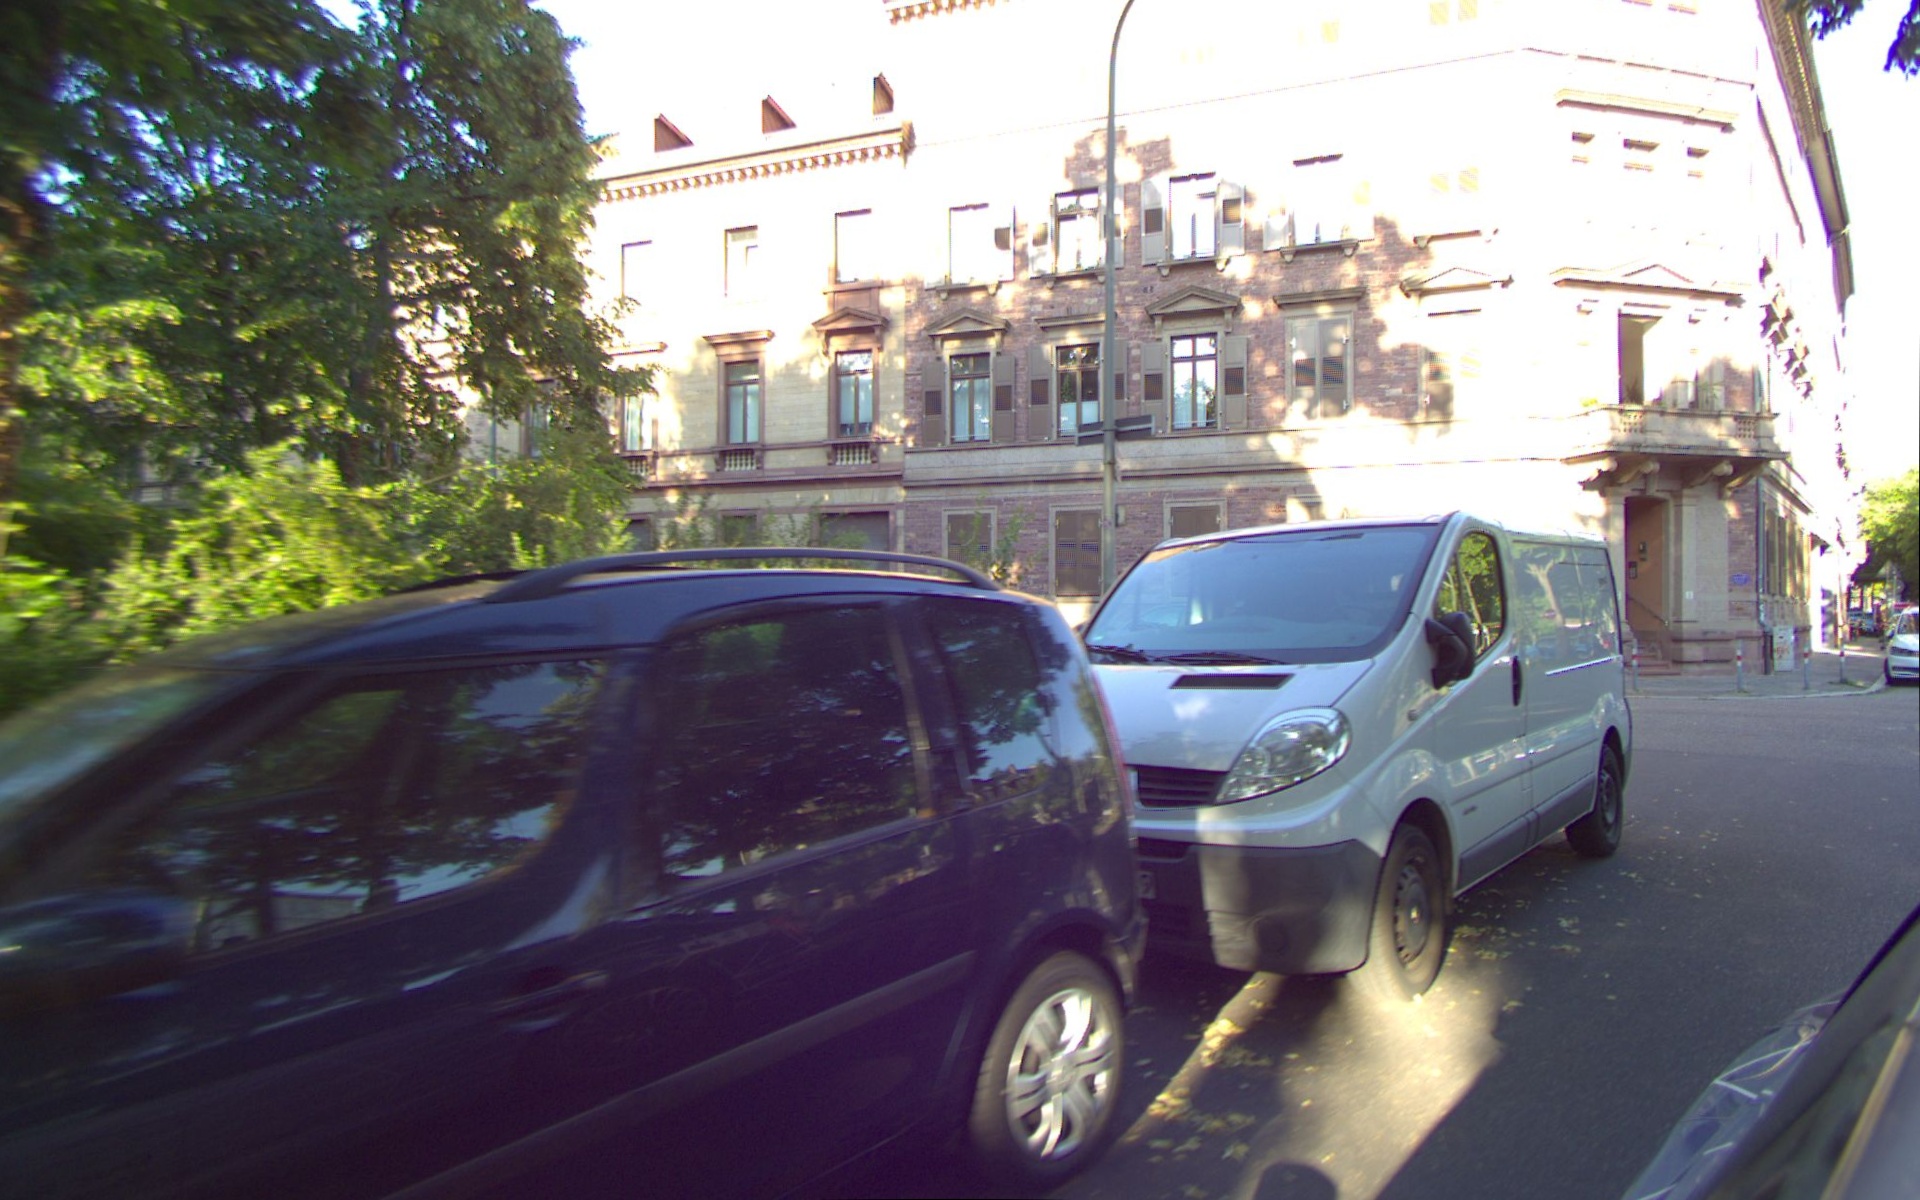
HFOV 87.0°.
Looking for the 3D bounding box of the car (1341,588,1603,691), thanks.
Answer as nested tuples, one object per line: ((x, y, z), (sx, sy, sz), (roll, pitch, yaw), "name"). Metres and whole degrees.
((8.861, 0.691, 17.906), (3.952, 1.669, 1.671), (0, -3, 22), "car")

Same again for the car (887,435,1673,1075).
((2.258, 0.478, 5.710), (5.366, 1.960, 1.966), (0, -1, -45), "car")

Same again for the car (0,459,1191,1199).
((-1.260, 0.649, 2.238), (3.829, 1.636, 1.568), (0, -1, -43), "car")

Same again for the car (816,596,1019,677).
((-0.883, 0.757, 21.360), (3.952, 1.586, 1.671), (0, -3, 22), "car")

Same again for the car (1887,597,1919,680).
((20.945, 0.733, 21.314), (1.934, 1.643, 4.179), (-5, -3, 42), "car")
